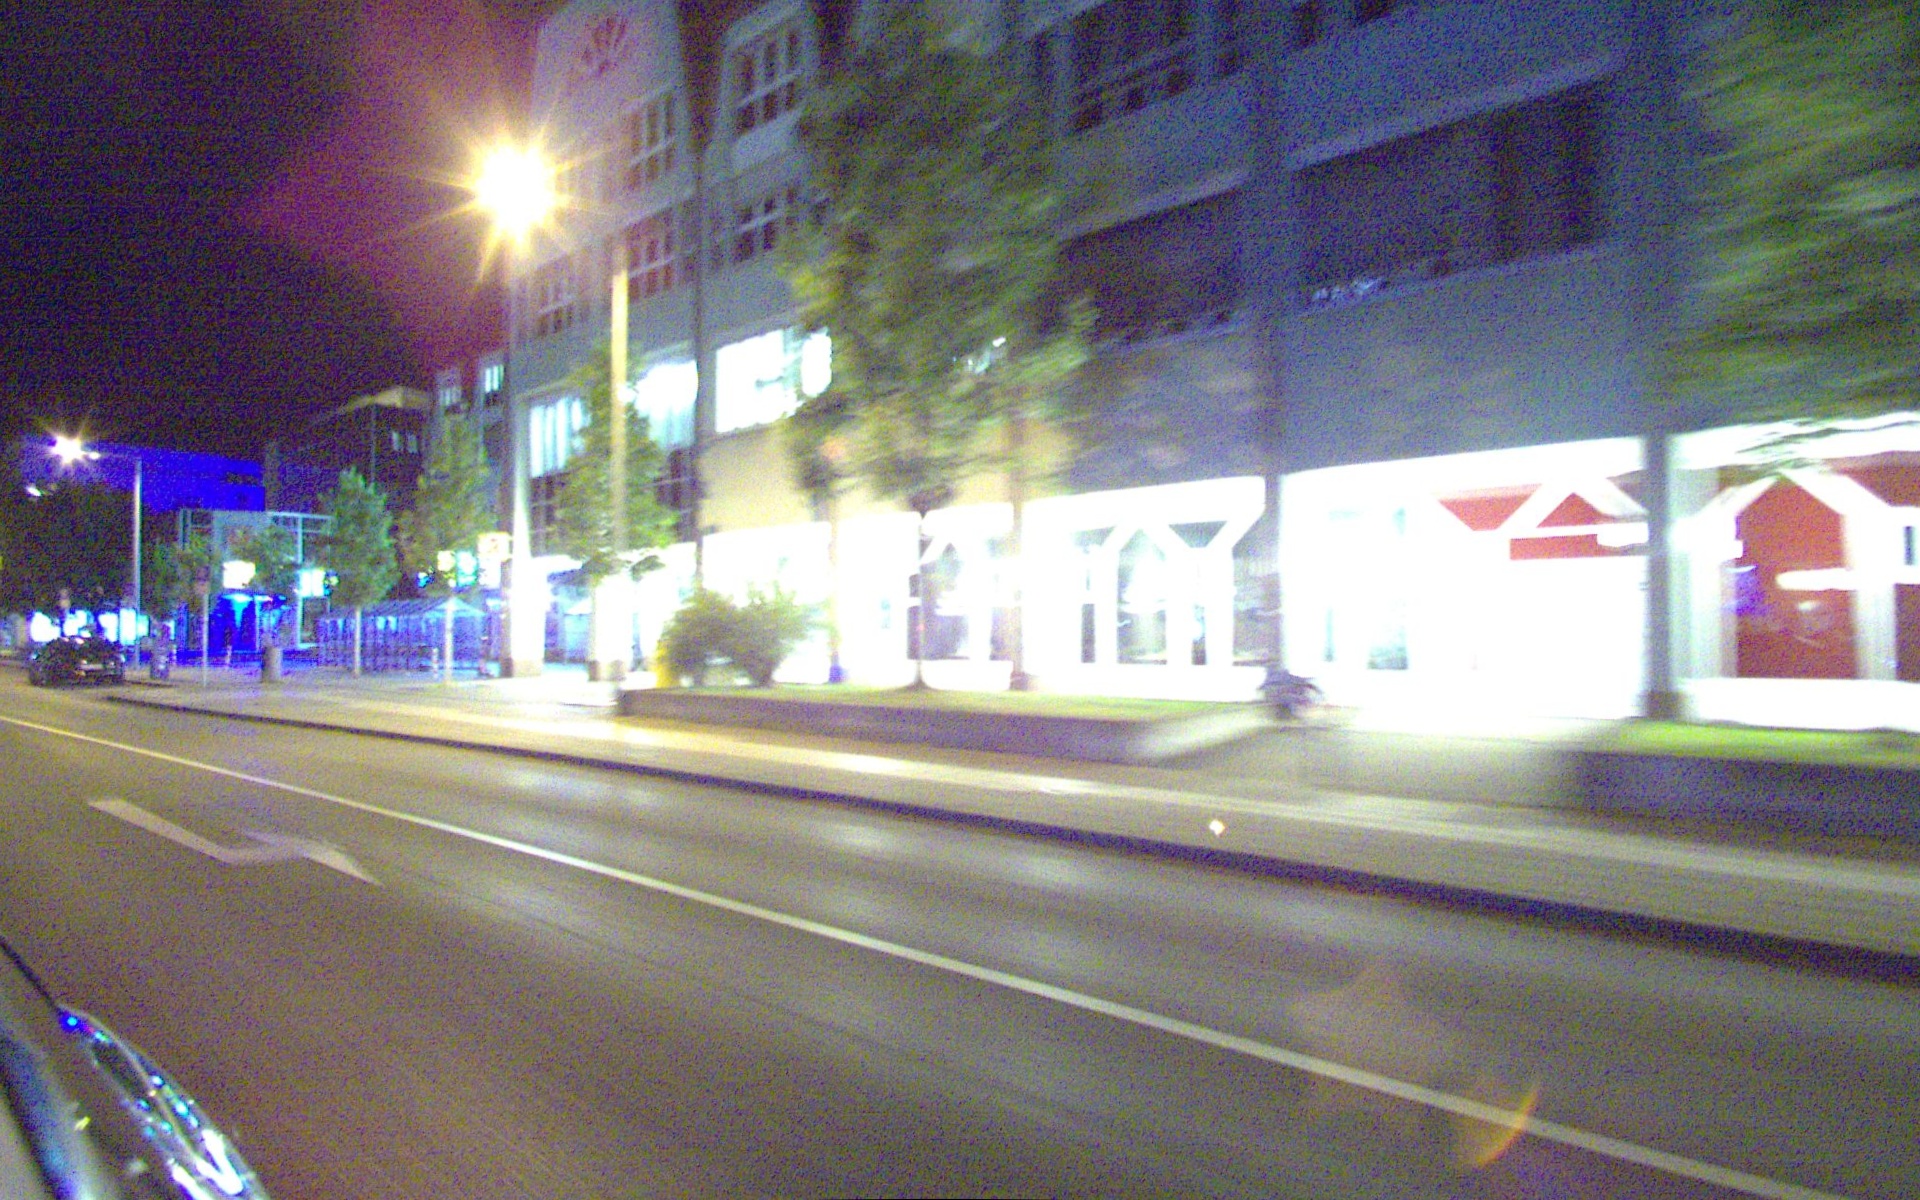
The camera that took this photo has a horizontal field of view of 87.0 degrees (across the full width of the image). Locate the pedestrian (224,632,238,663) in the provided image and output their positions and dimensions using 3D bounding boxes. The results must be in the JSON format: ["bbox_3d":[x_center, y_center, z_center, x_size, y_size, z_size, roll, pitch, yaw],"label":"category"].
[{"bbox_3d":[-38.933,2.549,54.045,0.631,1.649,0.473,-2,-3,41],"label":"pedestrian"}]

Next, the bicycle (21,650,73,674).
[{"bbox_3d":[-45.782,3.119,50.765,0.532,1.175,1.832,-2,-3,39],"label":"bicycle"}]

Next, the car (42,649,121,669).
[{"bbox_3d":[-66.440,4.411,76.610,1.801,1.408,4.286,-2,-3,39],"label":"car"}]

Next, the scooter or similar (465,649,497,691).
[{"bbox_3d":[-14.232,2.068,30.052,1.343,1.230,0.383,-2,-4,43],"label":"scooter or similar"}]

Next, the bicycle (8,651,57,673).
[{"bbox_3d":[-47.575,3.157,51.928,0.532,1.043,1.832,-2,-2,39],"label":"bicycle"}]

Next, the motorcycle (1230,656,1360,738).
[{"bbox_3d":[4.545,1.296,13.824,0.472,1.028,1.678,1,-3,-39],"label":"motorcycle"}]

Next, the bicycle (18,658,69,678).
[{"bbox_3d":[-46.203,3.428,51.057,0.501,0.975,1.832,-2,-3,39],"label":"bicycle"}]

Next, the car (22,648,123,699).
[{"bbox_3d":[-27.248,2.202,31.016,4.492,1.424,1.723,-2,-2,41],"label":"car"}]

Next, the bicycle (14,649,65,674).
[{"bbox_3d":[-46.996,3.138,51.661,0.532,1.263,1.832,-2,-3,39],"label":"bicycle"}]
